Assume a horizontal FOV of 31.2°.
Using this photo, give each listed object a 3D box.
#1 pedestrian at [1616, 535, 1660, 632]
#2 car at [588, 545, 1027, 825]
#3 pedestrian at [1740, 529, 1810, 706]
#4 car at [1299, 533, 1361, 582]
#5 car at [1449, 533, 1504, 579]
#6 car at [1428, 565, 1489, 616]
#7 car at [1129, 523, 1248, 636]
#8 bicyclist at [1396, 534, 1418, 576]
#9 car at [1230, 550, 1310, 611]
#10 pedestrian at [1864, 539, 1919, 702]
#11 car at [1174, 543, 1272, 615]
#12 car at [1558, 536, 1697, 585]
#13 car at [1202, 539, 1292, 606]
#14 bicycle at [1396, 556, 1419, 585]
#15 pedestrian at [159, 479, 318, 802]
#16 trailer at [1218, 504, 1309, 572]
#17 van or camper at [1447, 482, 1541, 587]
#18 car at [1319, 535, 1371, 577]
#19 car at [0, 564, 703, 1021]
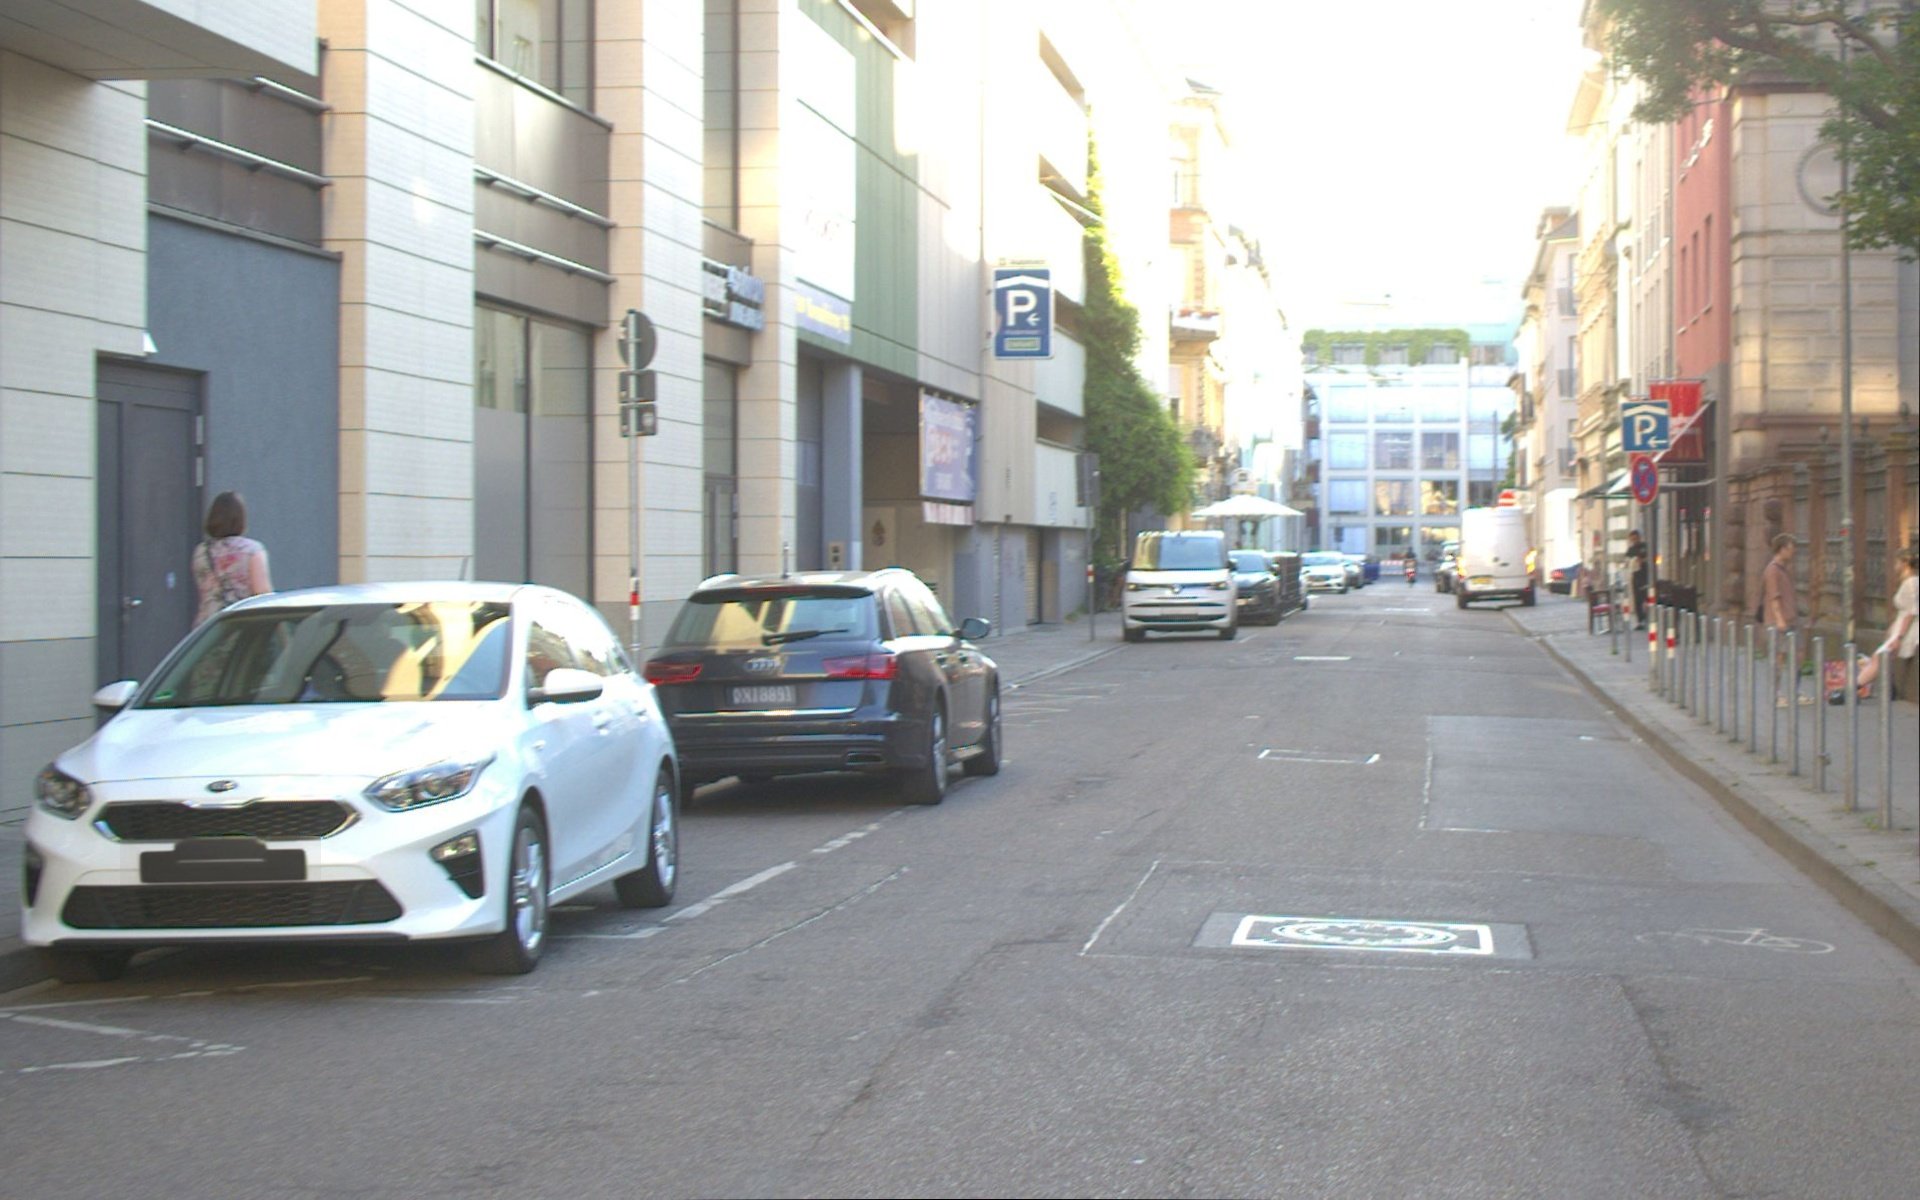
[{"bbox_3d":[11.749,-0.293,59.575,0.662,1.660,0.624,-2,1,8],"label":"pedestrian"},{"bbox_3d":[-0.857,0.452,22.333,1.884,1.592,4.687,0,1,10],"label":"car"},{"bbox_3d":[7.734,0.160,32.632,0.484,1.652,0.619,-2,1,1],"label":"pedestrian"},{"bbox_3d":[12.841,-1.467,119.171,1.994,1.678,3.999,1,0,8],"label":"car"},{"bbox_3d":[19.353,-1.646,128.826,1.994,1.678,3.999,1,0,8],"label":"car"},{"bbox_3d":[16.974,-0.341,117.059,1.994,1.678,3.999,1,0,8],"label":"car"},{"bbox_3d":[4.062,-0.394,60.439,1.884,1.905,4.747,0,1,6],"label":"car"},{"bbox_3d":[19.965,-2.014,153.540,0.990,1.862,0.708,1,0,8],"label":"bicyclist"},{"bbox_3d":[7.711,-0.510,85.312,1.884,1.448,3.999,0,1,6],"label":"car"},{"bbox_3d":[8.902,0.183,32.098,0.749,1.494,0.619,-1,1,3],"label":"pedestrian"},{"bbox_3d":[5.515,-0.460,71.666,1.884,1.448,3.999,0,1,6],"label":"car"},{"bbox_3d":[19.928,-1.180,102.767,3.988,1.415,1.656,1,0,8],"label":"car"},{"bbox_3d":[6.425,-0.636,76.696,1.884,1.448,3.999,0,1,6],"label":"car"},{"bbox_3d":[20.021,-1.305,153.858,0.975,1.276,2.753,1,0,8],"label":"bicycle"},{"bbox_3d":[-3.949,0.210,18.853,0.672,1.738,0.647,0,1,8],"label":"pedestrian"},{"bbox_3d":[7.154,-1.437,80.745,1.994,1.552,3.999,1,0,7],"label":"trailer"},{"bbox_3d":[14.368,-1.735,92.759,2.258,2.598,5.110,-4,0,8],"label":"van or camper"},{"bbox_3d":[15.892,-1.793,141.624,1.994,1.678,3.999,1,0,8],"label":"car"},{"bbox_3d":[-2.277,0.609,13.461,1.778,1.448,4.230,0,1,6],"label":"car"}]
